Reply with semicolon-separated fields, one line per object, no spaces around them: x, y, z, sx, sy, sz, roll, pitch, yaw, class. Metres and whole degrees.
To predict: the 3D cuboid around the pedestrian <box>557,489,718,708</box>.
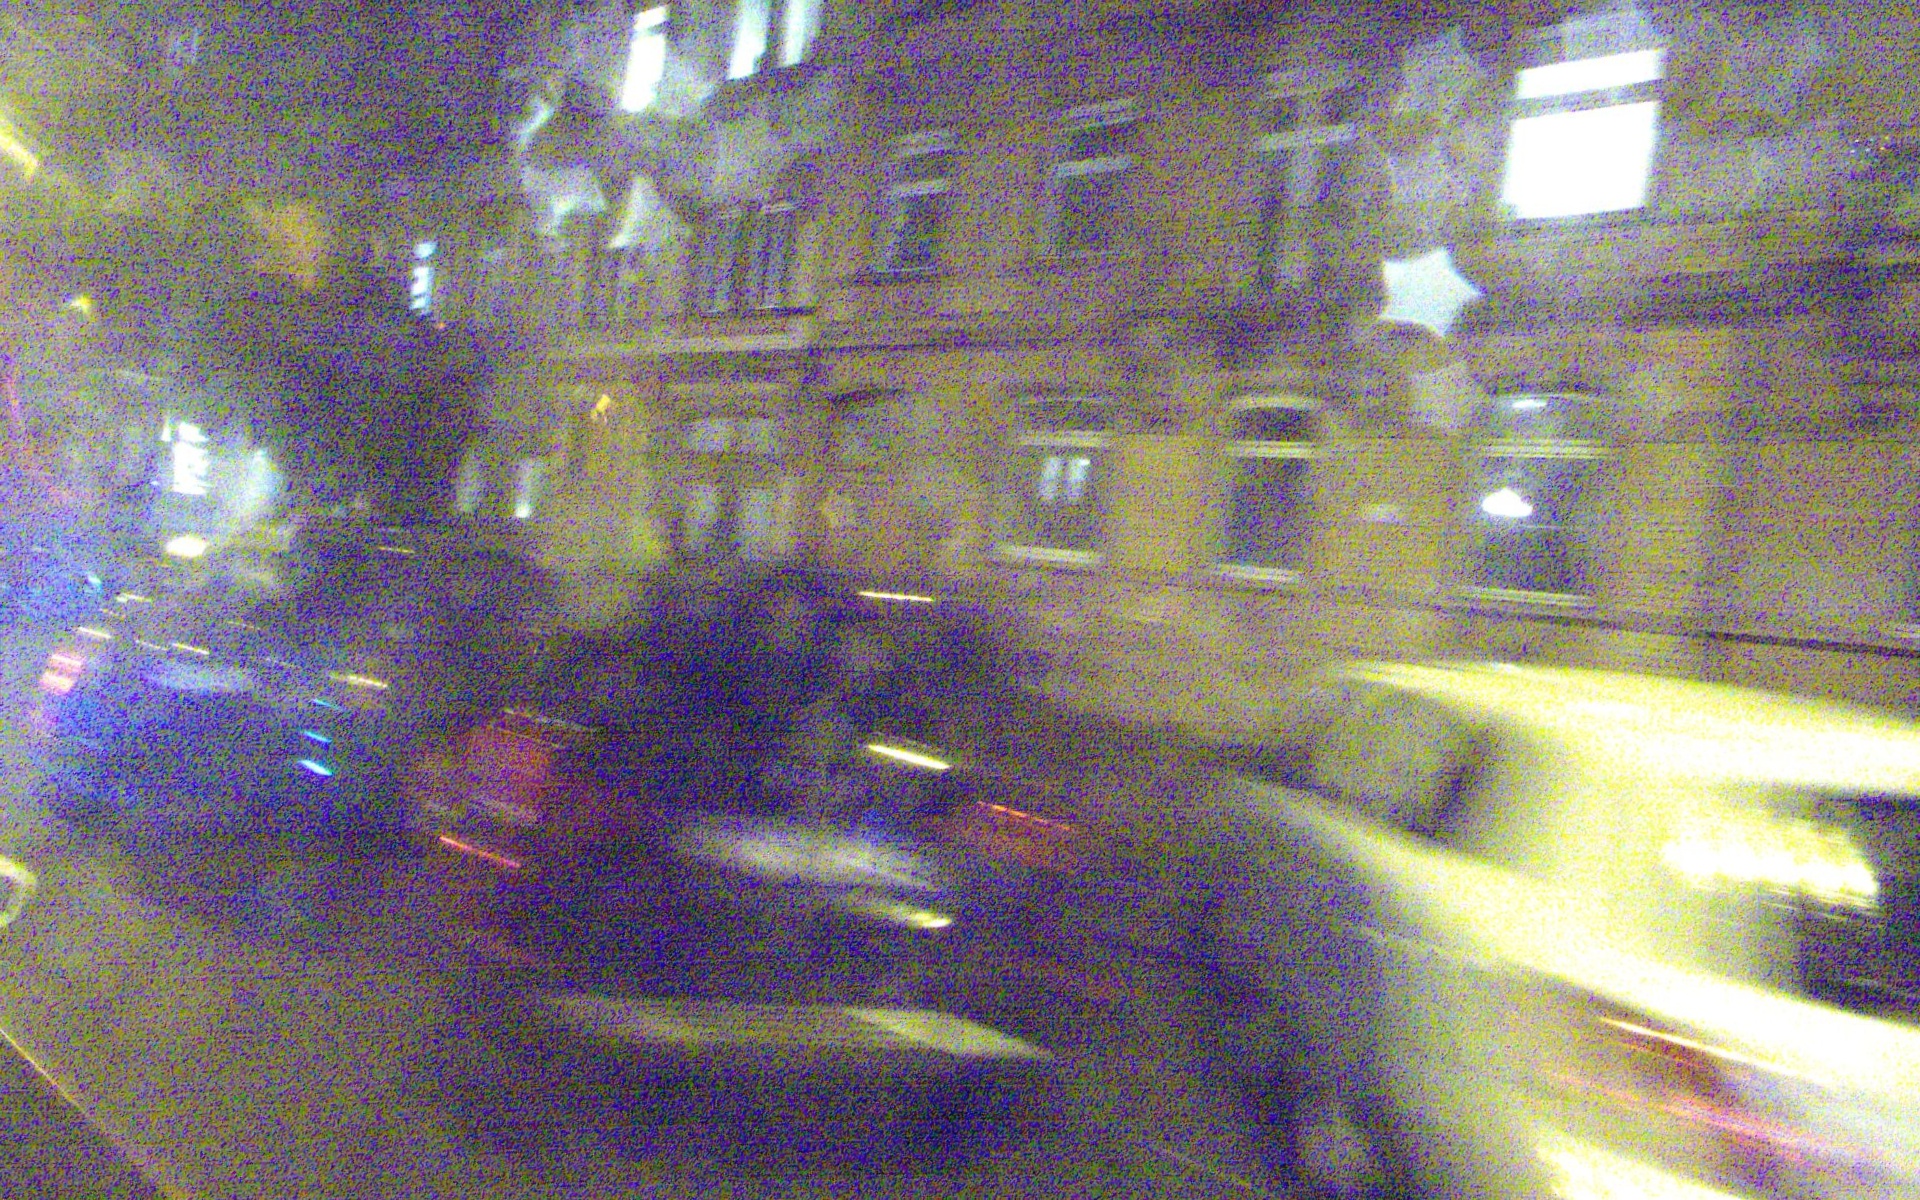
-3.023;-0.017;9.456;0.976;1.880;0.869;7;2;29;pedestrian

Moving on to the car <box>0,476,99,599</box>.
-12.745;-0.856;11.718;1.701;1.512;3.999;6;1;5;car

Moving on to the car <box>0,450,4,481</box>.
-17.400;-1.684;14.679;2.028;2.073;4.801;7;-1;1;car

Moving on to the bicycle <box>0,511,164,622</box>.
-10.488;-0.399;11.851;1.793;1.090;0.446;7;2;0;bicycle

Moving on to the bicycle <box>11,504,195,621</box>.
-10.479;-0.454;12.325;1.793;1.206;0.446;7;2;0;bicycle

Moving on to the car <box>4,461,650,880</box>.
-3.165;0.262;5.964;1.563;1.601;3.649;5;1;-3;car

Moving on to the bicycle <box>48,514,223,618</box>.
-10.463;-0.423;12.789;1.793;1.090;0.446;7;2;0;bicycle

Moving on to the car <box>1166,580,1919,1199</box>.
1.771;0.919;3.084;1.562;1.599;3.655;7;-1;4;car

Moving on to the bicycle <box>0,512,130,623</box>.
-10.505;-0.399;11.348;1.793;1.090;0.519;7;2;0;bicycle

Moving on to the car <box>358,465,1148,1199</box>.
-0.649;0.613;4.066;1.565;1.599;3.650;7;-1;-7;car

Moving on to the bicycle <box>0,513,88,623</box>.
-10.515;-0.406;10.795;1.793;1.090;0.519;7;2;0;bicycle

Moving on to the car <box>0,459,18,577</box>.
-15.152;-1.289;13.417;1.615;1.734;3.564;6;1;3;car

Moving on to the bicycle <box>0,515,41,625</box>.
-10.520;-0.394;10.235;1.793;1.090;0.519;7;2;0;bicycle
